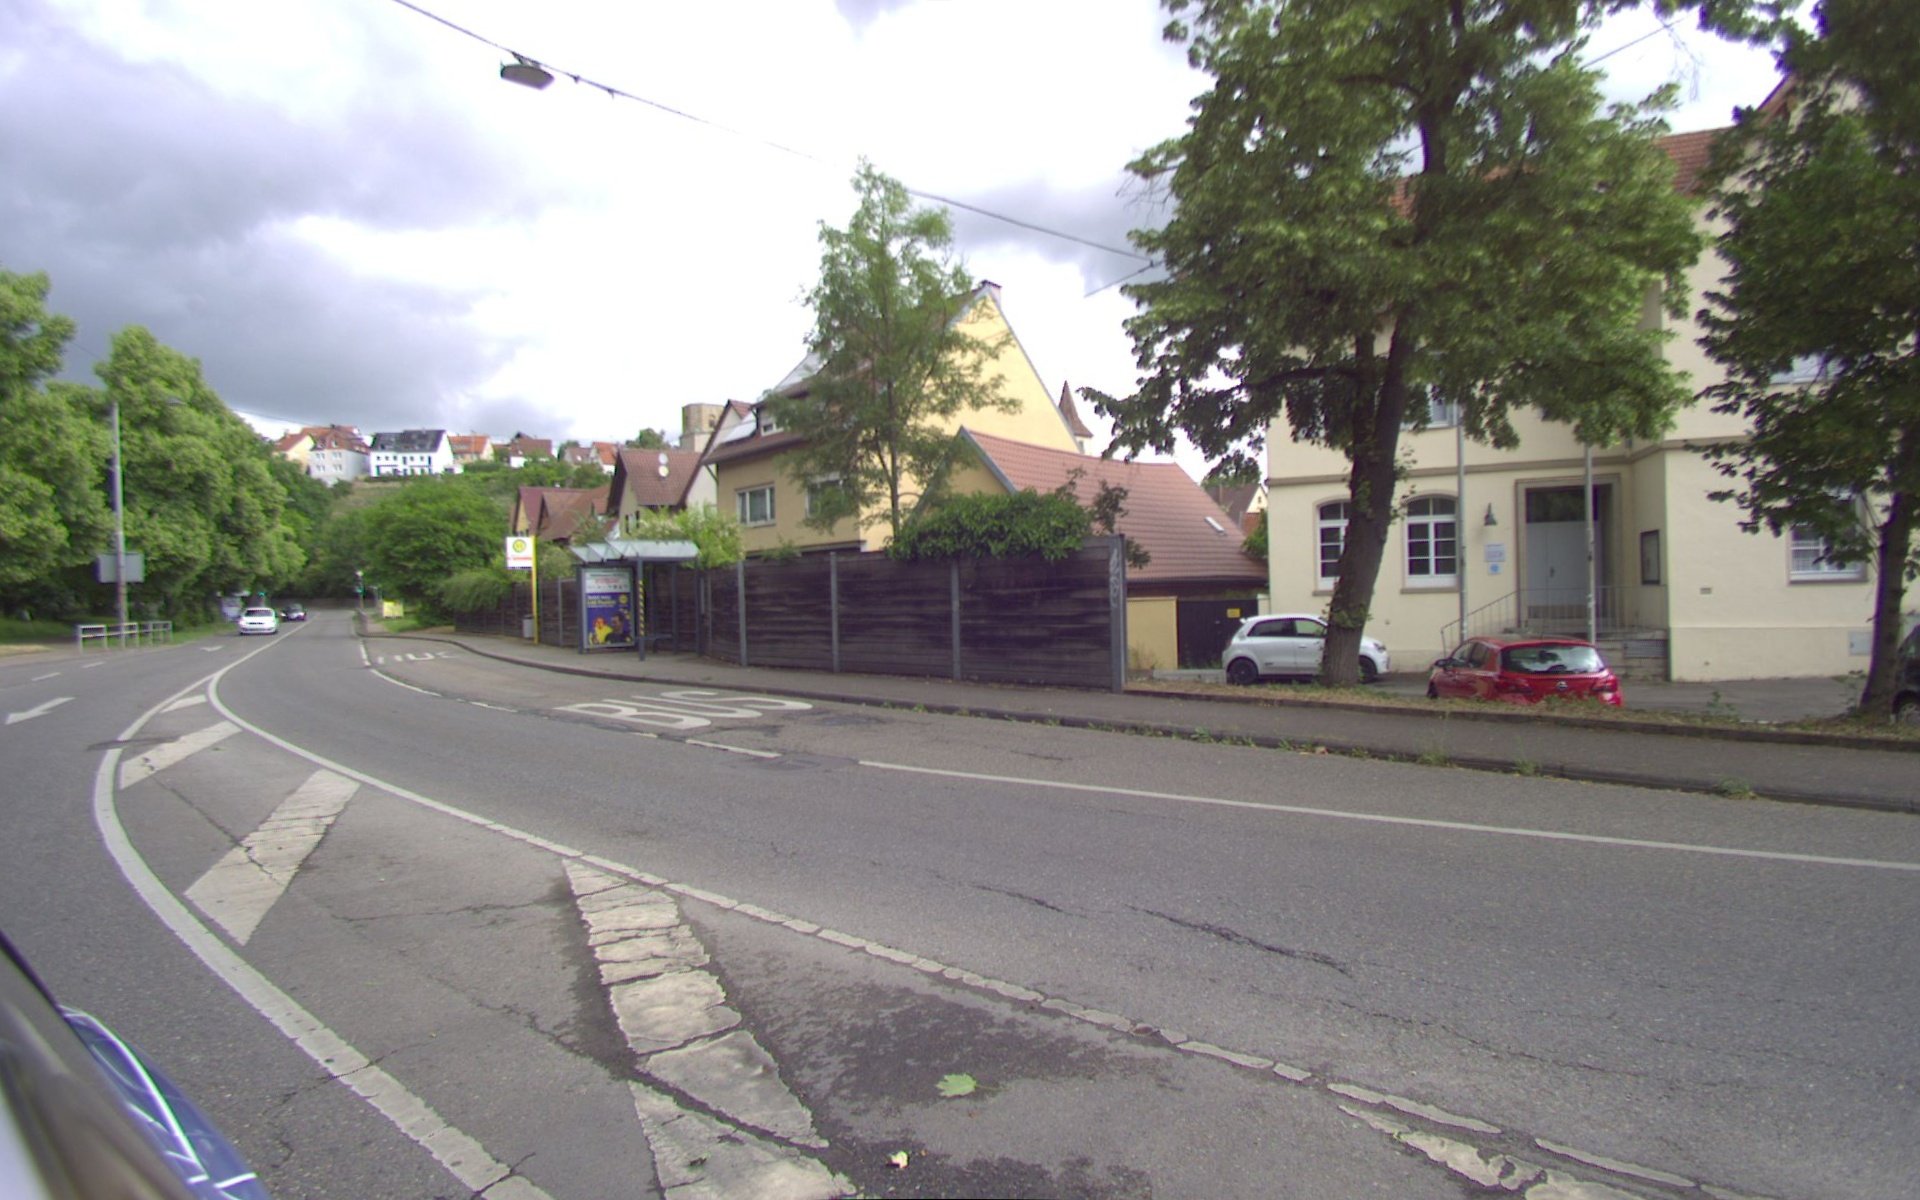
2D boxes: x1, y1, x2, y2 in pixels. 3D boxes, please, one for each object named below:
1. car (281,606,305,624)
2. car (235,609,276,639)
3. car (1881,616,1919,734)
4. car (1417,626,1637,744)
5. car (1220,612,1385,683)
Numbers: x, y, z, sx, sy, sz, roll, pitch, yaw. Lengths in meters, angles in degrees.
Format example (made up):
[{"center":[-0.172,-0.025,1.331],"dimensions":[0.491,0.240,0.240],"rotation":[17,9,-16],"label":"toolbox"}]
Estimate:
[{"center":[-59.660,1.343,90.529],"dimensions":[1.735,1.596,3.693],"rotation":[-1,0,-33],"label":"car"},{"center":[-38.589,1.280,55.480],"dimensions":[1.735,1.536,3.693],"rotation":[-1,0,-33],"label":"car"},{"center":[12.628,0.930,11.310],"dimensions":[1.626,1.450,3.567],"rotation":[-1,0,7],"label":"car"},{"center":[8.127,1.142,14.885],"dimensions":[1.644,1.393,3.708],"rotation":[-1,0,10],"label":"car"},{"center":[7.714,1.051,22.891],"dimensions":[3.411,1.490,1.600],"rotation":[-1,0,21],"label":"car"}]
